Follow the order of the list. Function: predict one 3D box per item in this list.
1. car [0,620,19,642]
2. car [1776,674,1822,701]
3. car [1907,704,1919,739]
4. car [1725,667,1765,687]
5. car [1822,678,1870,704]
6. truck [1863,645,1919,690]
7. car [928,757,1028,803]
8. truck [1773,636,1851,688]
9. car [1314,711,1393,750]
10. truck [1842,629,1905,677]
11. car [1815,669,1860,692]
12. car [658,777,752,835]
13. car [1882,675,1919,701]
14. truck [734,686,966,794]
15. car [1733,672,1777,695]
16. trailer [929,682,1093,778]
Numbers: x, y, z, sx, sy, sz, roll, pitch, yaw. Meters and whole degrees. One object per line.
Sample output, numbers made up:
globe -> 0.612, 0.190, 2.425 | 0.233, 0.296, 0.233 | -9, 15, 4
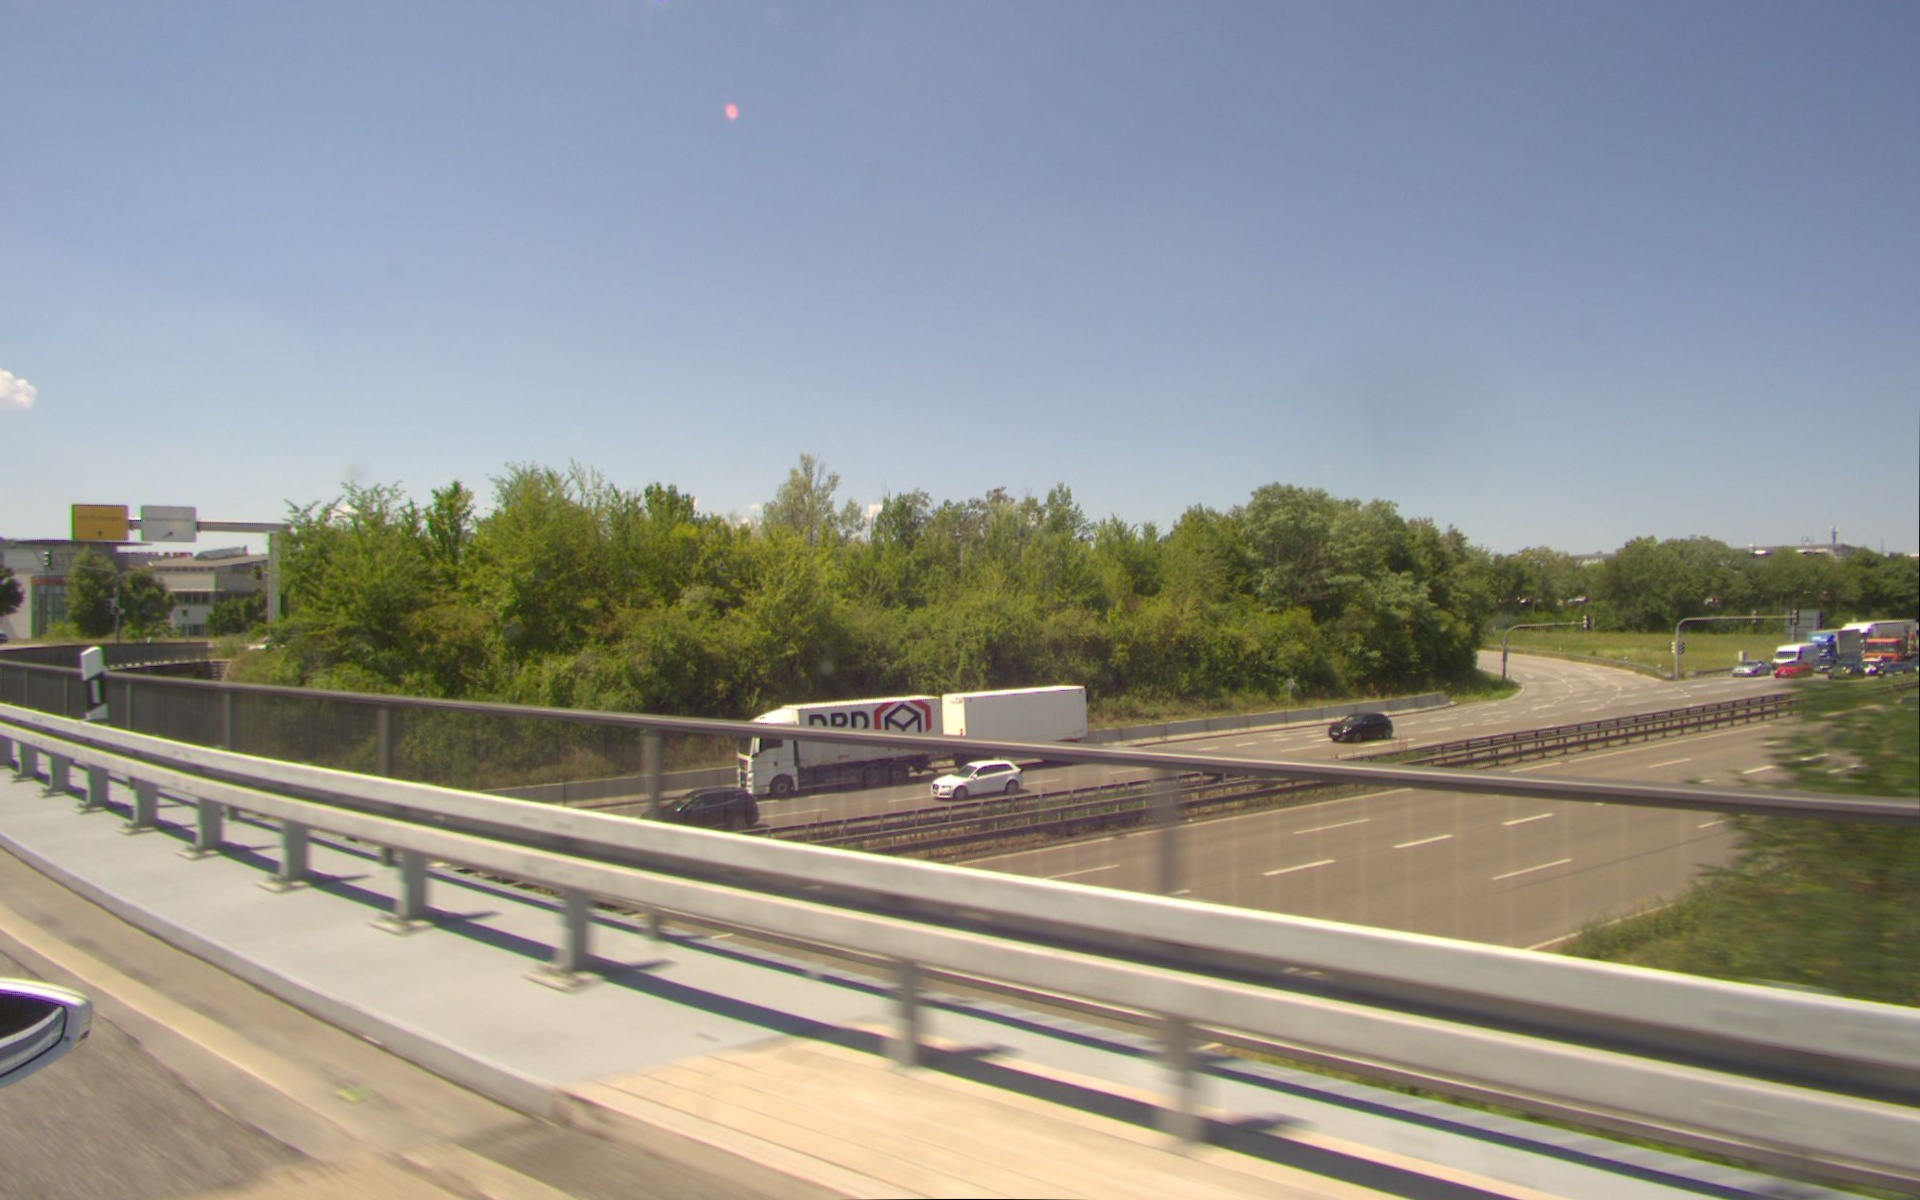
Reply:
car -> -67.484, 2.112, 68.293 | 4.318, 1.524, 1.998 | 0, -2, -16
car -> 75.737, 7.898, 90.415 | 3.944, 2.237, 1.974 | 1, -2, -31
car -> 56.833, 7.029, 57.903 | 3.943, 1.880, 1.990 | 1, -2, -30
car -> 81.830, 8.008, 104.404 | 3.944, 1.945, 1.990 | 1, -2, -31
car -> 77.165, 7.905, 87.226 | 3.944, 2.039, 1.990 | 1, -2, -31
truck -> 88.791, 6.280, 94.838 | 8.766, 4.061, 2.697 | 1, -2, -34
car -> 0.814, 7.903, 44.204 | 4.082, 1.572, 1.787 | 1, -2, -27
truck -> 86.093, 6.167, 101.086 | 12.240, 5.073, 2.563 | 1, -2, -33
car -> 22.959, 7.555, 58.377 | 4.462, 1.728, 1.903 | -2, -1, -31
truck -> 101.315, 5.812, 111.017 | 10.931, 5.032, 2.409 | 1, -2, -33
car -> 82.012, 7.499, 93.588 | 3.944, 2.039, 1.990 | 1, -2, -31
car -> -9.610, 7.695, 37.649 | 3.187, 1.698, 1.711 | 1, -2, -25
car -> 79.447, 7.365, 84.058 | 3.944, 2.039, 1.990 | 1, -2, -31
truck -> -5.182, 6.559, 48.315 | 10.848, 4.402, 2.888 | 1, -2, -28
car -> 74.673, 7.828, 94.035 | 3.944, 2.039, 1.990 | 1, -2, -31
trailer -> 2.733, 6.661, 52.545 | 8.268, 4.402, 2.888 | 1, -2, -28
